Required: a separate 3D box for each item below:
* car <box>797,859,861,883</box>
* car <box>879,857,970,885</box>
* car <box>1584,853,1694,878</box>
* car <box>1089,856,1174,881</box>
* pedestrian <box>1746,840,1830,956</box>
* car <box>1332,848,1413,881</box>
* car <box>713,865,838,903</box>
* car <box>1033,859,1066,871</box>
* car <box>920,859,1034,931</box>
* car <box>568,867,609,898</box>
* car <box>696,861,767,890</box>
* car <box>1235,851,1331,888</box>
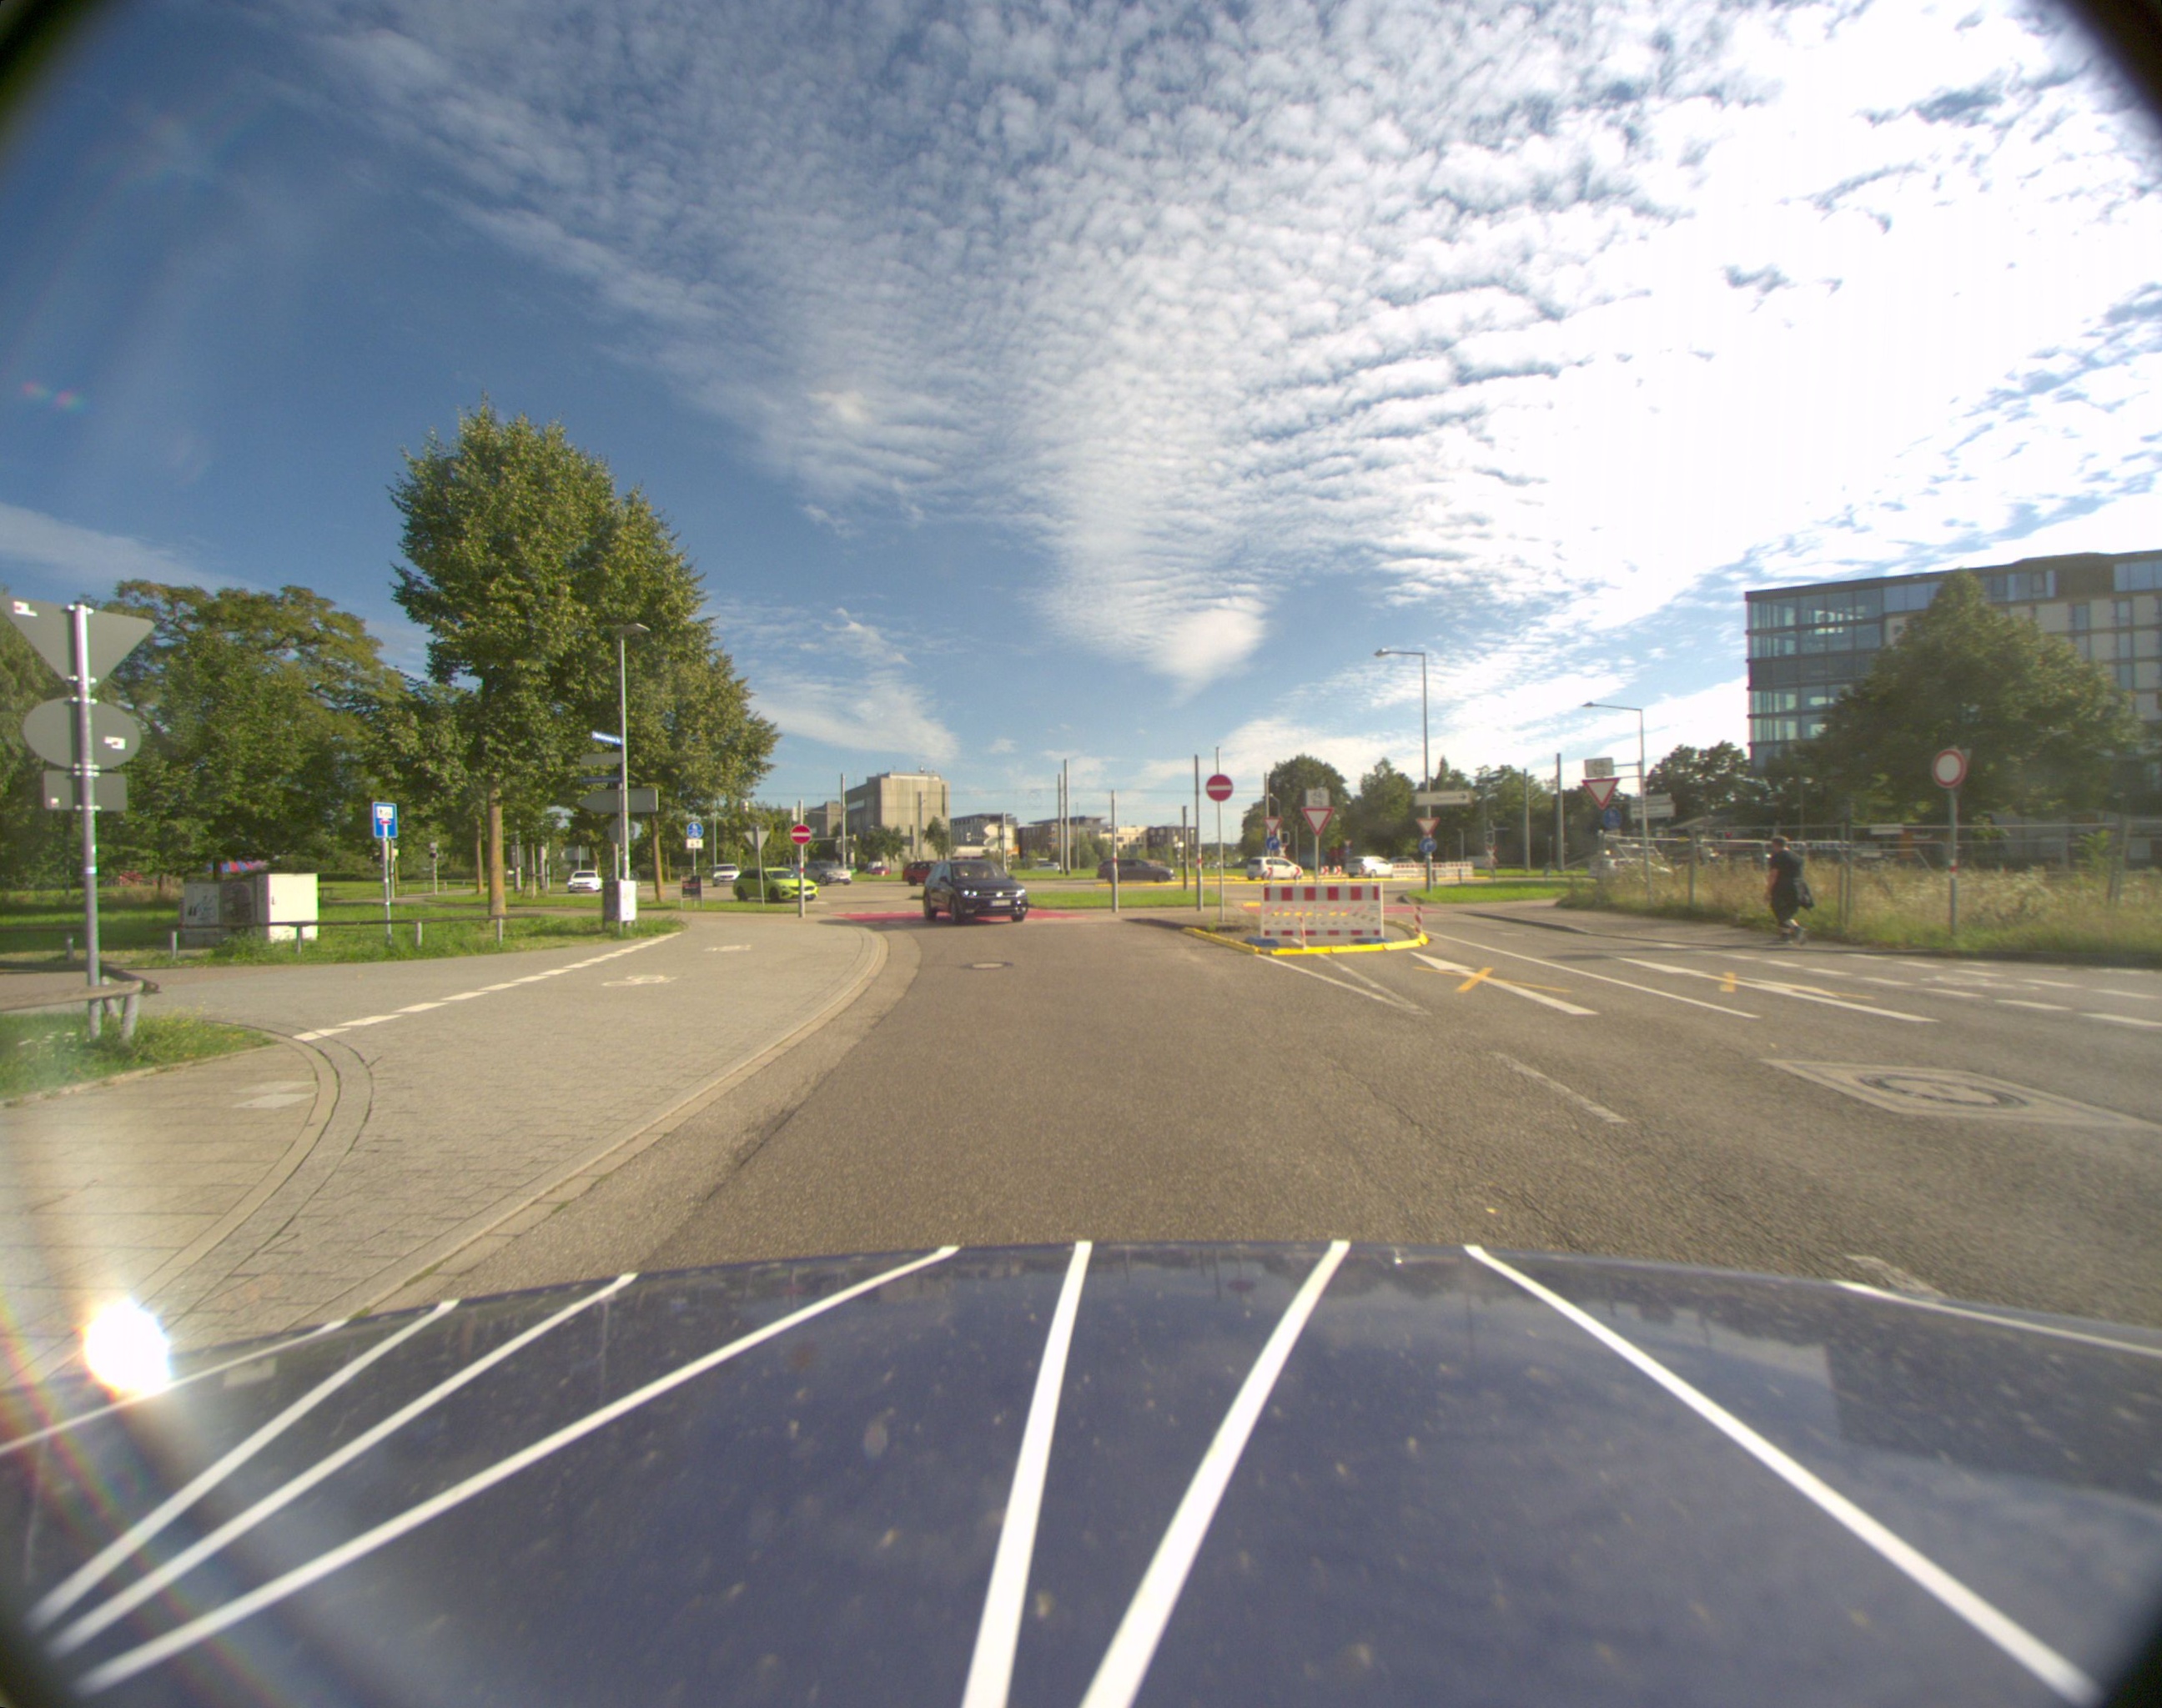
[{"bbox_3d":[-16.490,1.128,49.675,4.251,1.477,2.004,-1,0,40],"label":"car"},{"bbox_3d":[-9.527,1.028,46.233,4.859,1.515,2.309,-2,0,18],"label":"car"},{"bbox_3d":[32.104,0.660,43.800,4.807,1.344,2.000,-1,0,2],"label":"car"},{"bbox_3d":[2.919,0.837,44.644,4.810,1.344,1.999,-1,0,-3],"label":"car"},{"bbox_3d":[11.576,0.696,12.454,0.710,1.813,0.744,-2,0,-21],"label":"pedestrian"},{"bbox_3d":[20.240,0.679,52.685,5.816,2.047,2.471,-2,1,-37],"label":"car"},{"bbox_3d":[-13.345,1.283,33.053,5.972,1.460,2.046,-2,0,35],"label":"car"},{"bbox_3d":[-4.287,1.452,103.666,3.992,1.546,1.888,-1,0,14],"label":"car"},{"bbox_3d":[-2.889,0.992,20.293,1.824,1.648,4.234,-2,0,-25],"label":"car"},{"bbox_3d":[-32.599,1.828,50.393,1.842,1.856,5.392,-2,0,-29],"label":"car"},{"bbox_3d":[-24.719,1.473,53.575,2.482,1.856,6.235,-2,1,-45],"label":"car"},{"bbox_3d":[12.781,0.940,48.102,5.509,2.047,2.473,-2,1,-25],"label":"car"}]
